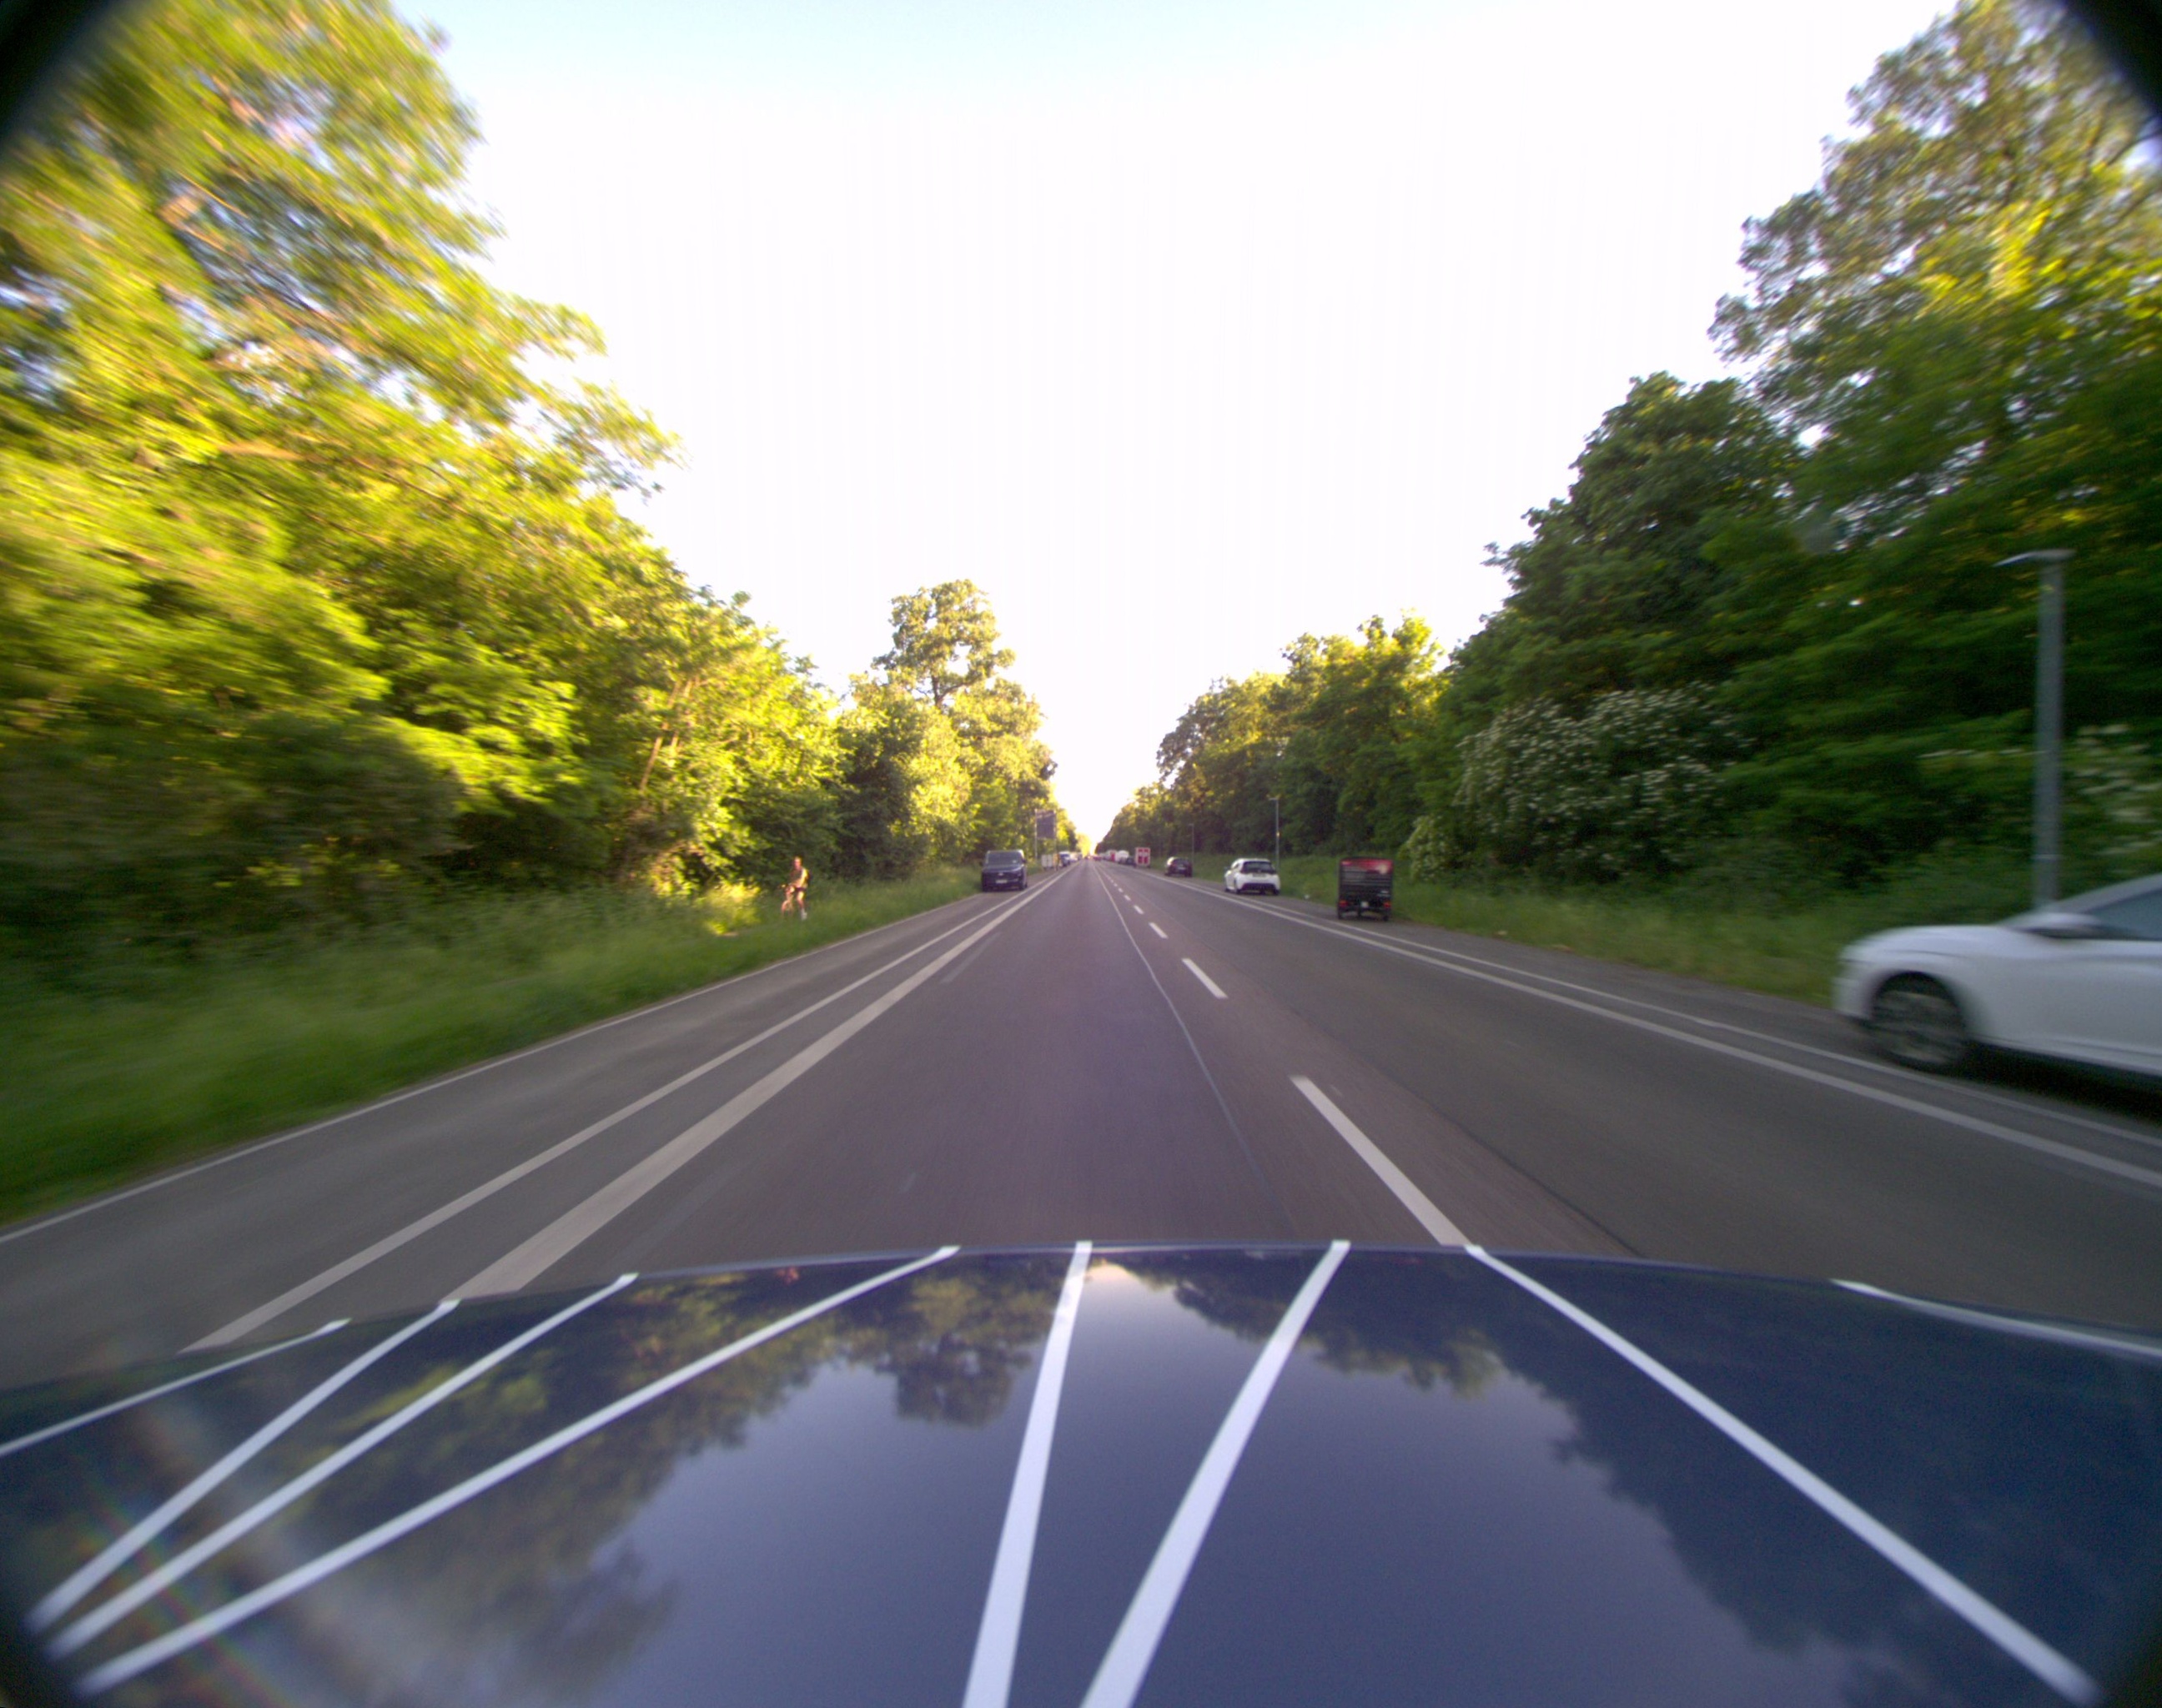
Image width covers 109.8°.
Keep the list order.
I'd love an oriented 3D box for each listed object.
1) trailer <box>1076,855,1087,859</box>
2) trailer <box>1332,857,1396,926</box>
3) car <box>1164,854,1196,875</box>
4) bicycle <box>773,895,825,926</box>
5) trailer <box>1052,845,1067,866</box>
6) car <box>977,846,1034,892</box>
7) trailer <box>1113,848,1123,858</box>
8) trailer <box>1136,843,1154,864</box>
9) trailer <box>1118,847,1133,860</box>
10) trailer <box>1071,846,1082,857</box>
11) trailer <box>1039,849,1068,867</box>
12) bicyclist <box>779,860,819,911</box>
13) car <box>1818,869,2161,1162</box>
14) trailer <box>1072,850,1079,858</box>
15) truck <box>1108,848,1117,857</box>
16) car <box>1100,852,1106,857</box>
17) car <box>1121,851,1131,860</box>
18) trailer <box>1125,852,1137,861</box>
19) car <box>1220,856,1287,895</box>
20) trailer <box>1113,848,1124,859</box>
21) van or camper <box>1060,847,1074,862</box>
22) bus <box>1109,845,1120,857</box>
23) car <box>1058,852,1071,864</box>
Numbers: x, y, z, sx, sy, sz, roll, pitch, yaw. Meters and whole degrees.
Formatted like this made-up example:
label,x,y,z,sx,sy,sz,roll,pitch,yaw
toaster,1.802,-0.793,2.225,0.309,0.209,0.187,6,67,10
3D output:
label,x,y,z,sx,sy,sz,roll,pitch,yaw
trailer,0.131,0.648,188.505,2.439,0.794,5.659,-2,1,1
trailer,7.118,0.886,19.079,1.397,1.565,2.678,0,0,21
car,7.560,0.777,58.557,1.859,1.456,4.784,-1,0,1
bicycle,-7.544,1.499,20.424,0.592,0.688,1.996,-1,0,1
trailer,-2.709,0.166,95.076,1.617,2.494,3.999,-2,1,0
car,-3.593,0.664,37.088,2.119,2.002,5.039,-3,0,1
trailer,8.885,-0.260,183.510,2.072,2.466,3.560,0,0,-3
trailer,8.213,-0.047,97.968,1.998,2.606,4.085,-1,0,1
trailer,8.588,-0.163,146.444,2.352,2.514,4.343,0,0,-3
trailer,-1.394,-0.752,226.752,2.928,2.825,9.881,-4,1,0
trailer,-3.099,0.464,87.479,1.964,2.011,3.849,-1,0,20
bicyclist,-7.610,0.835,20.539,0.612,1.317,1.175,-1,1,1
car,6.849,0.928,3.974,1.819,1.562,4.206,1,0,-1
trailer,-1.444,-0.021,204.307,1.759,2.149,3.539,-1,0,-1
truck,9.914,-0.559,242.086,2.489,2.807,8.424,-1,0,1
car,6.188,0.241,213.289,1.608,1.412,3.518,1,0,0
car,8.298,0.318,139.932,1.675,1.486,4.194,2,1,1
trailer,8.336,0.423,126.994,1.846,1.457,4.466,-1,0,1
car,7.166,0.869,31.992,1.871,1.442,4.071,2,0,1
trailer,8.323,-0.094,168.717,2.072,2.466,3.560,0,0,-3
van or camper,-2.395,0.060,135.276,2.131,2.468,6.305,-1,0,2
bus,10.040,-0.886,230.814,2.835,3.411,11.199,-2,1,1
car,-2.377,0.571,109.663,1.590,1.521,3.011,-2,0,1
